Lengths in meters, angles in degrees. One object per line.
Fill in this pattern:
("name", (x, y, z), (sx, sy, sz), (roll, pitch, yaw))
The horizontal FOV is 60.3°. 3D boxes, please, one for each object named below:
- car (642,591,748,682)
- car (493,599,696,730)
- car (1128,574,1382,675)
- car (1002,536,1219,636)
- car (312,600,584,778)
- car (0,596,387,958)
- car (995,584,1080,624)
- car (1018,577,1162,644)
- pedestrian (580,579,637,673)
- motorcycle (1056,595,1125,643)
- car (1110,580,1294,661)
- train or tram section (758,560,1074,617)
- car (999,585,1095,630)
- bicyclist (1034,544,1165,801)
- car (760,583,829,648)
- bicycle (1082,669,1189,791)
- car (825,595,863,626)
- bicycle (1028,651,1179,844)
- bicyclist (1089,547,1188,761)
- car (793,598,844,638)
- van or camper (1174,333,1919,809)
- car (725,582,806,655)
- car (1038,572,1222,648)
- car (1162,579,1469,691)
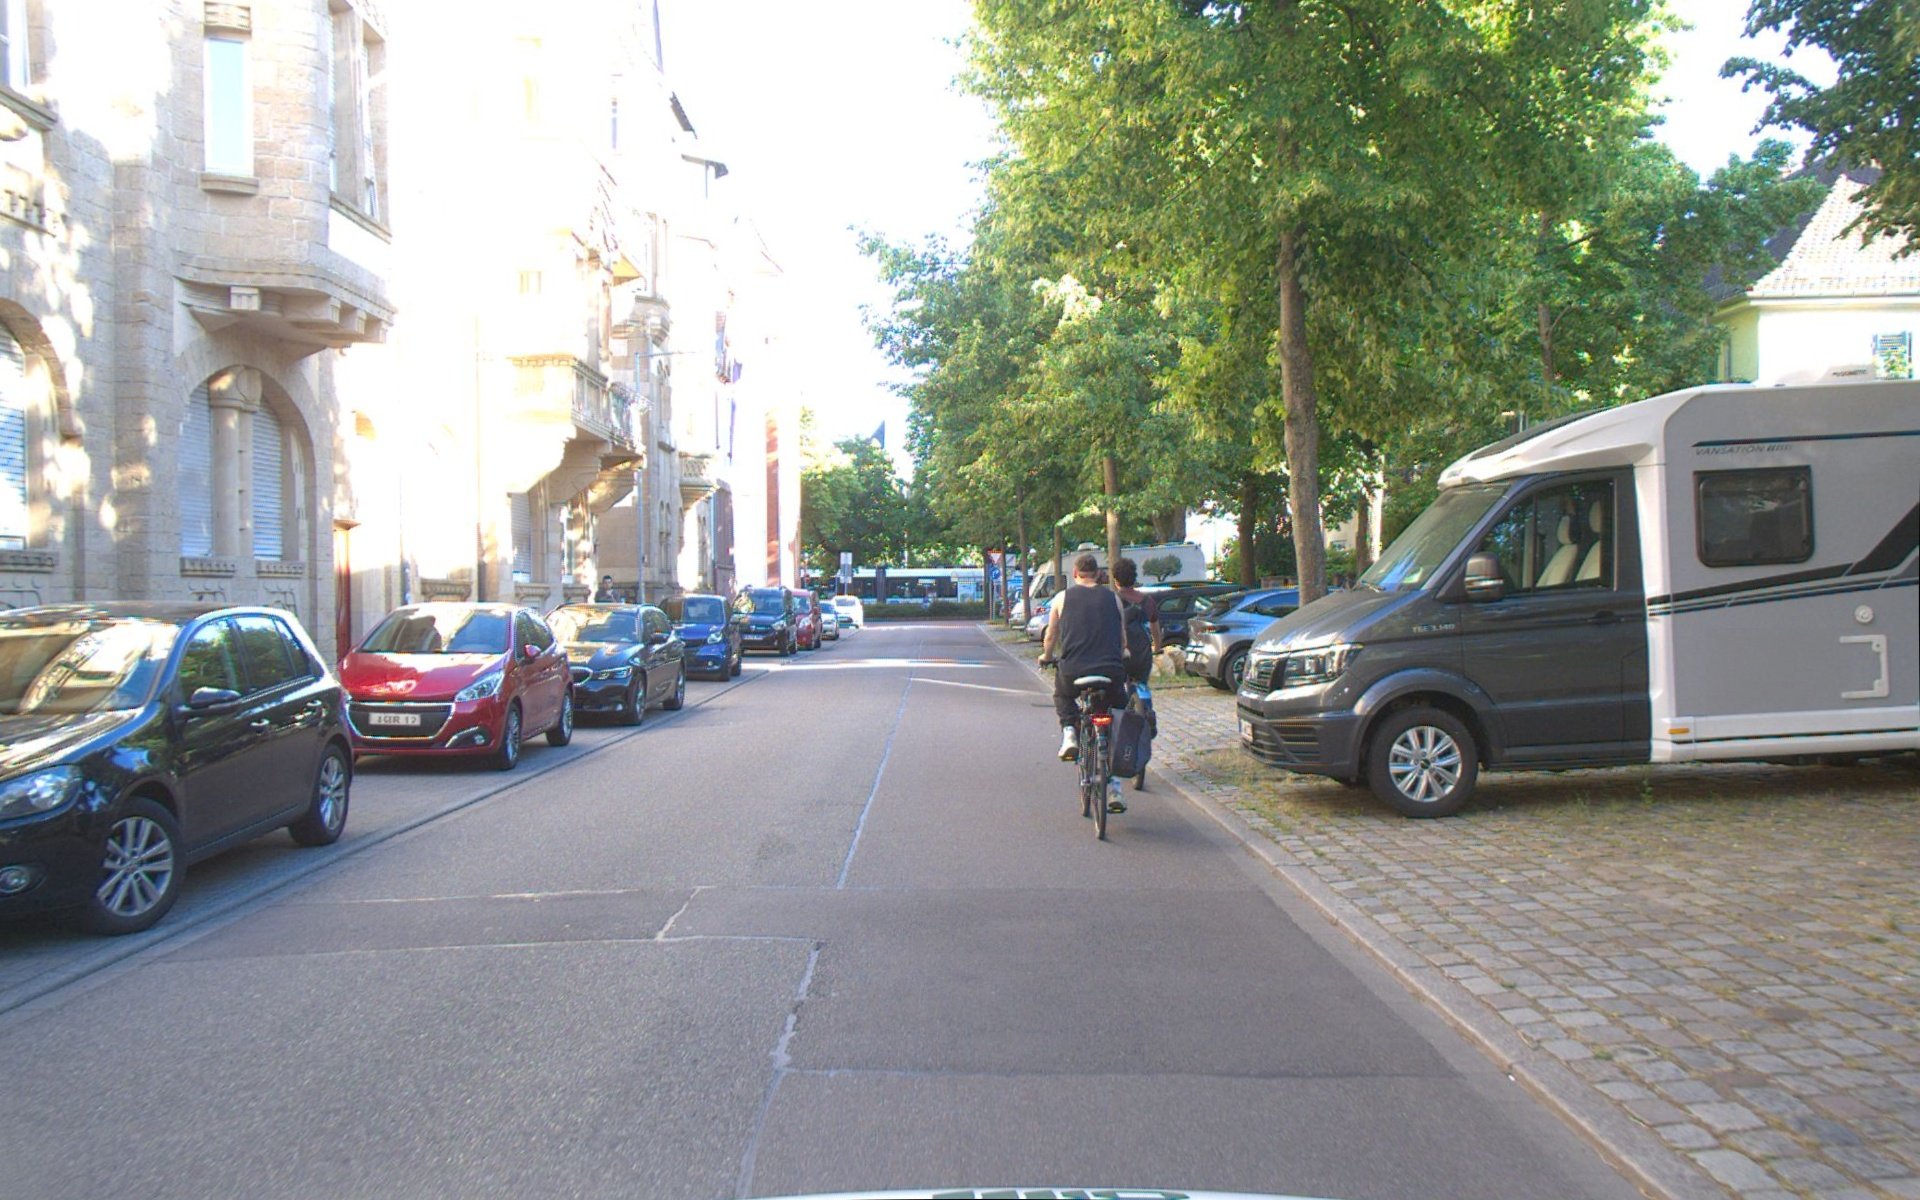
("car", (-4.901, 0.646, 30.847), (1.564, 1.515, 2.735), (3, 1, -2))
("car", (-4.670, 0.757, 21.780), (1.641, 1.455, 4.550), (2, 1, 0))
("car", (5.107, 0.439, 29.026), (4.136, 1.628, 1.691), (-1, -2, 1))
("car", (5.071, -0.479, 56.382), (7.005, 3.030, 2.463), (-2, 0, -4))
("car", (-4.773, 0.757, 15.942), (1.596, 1.478, 3.835), (1, 0, -3))
("car", (-4.509, 0.752, 8.772), (1.662, 1.479, 4.026), (-1, -1, -2))
("car", (3.664, 0.200, 78.601), (3.907, 1.835, 1.833), (1, -1, -3))
("car", (3.810, 0.301, 49.036), (4.002, 1.678, 1.640), (-4, 0, -3))
("pedestrian", (-6.740, 0.487, 31.755), (0.919, 1.773, 0.735), (1, -1, -1))
("motorcycle", (3.251, 0.482, 41.297), (1.574, 1.161, 0.671), (-1, 0, 33))
("car", (5.151, 0.461, 35.547), (3.695, 1.628, 1.691), (-1, -2, 1))
("train or tram section", (-3.011, -0.748, 121.996), (23.484, 3.773, 4.255), (1, -1, -23))
("car", (3.702, 0.328, 70.714), (3.907, 1.835, 1.833), (1, -1, -3))
("bicyclist", (0.888, 0.455, 10.711), (0.715, 1.575, 0.884), (1, -1, -2))
("car", (-5.049, 0.444, 50.940), (1.654, 1.857, 4.272), (1, 1, 0))
("bicycle", (1.379, 1.008, 13.272), (0.620, 0.813, 1.832), (-1, 0, -1))
("car", (-5.553, 0.479, 79.502), (1.551, 1.399, 4.131), (2, 1, 0))
("bicycle", (0.879, 0.889, 10.623), (0.722, 1.072, 1.955), (1, -1, -2))
("bicyclist", (1.427, 0.418, 13.346), (0.675, 1.655, 0.998), (1, 0, 0))
("car", (-5.277, 0.652, 61.940), (1.551, 1.367, 4.131), (2, 1, 0))
("van or camper", (5.217, -0.278, 11.616), (7.001, 2.693, 2.465), (-4, 0, 1))
("car", (-5.135, 0.447, 44.022), (1.607, 1.814, 4.354), (1, 1, 0))
("car", (3.856, 0.249, 37.993), (4.053, 1.628, 1.702), (-1, -2, 1))
("car", (4.990, 0.471, 23.529), (3.953, 1.479, 1.689), (-1, 0, -5))
